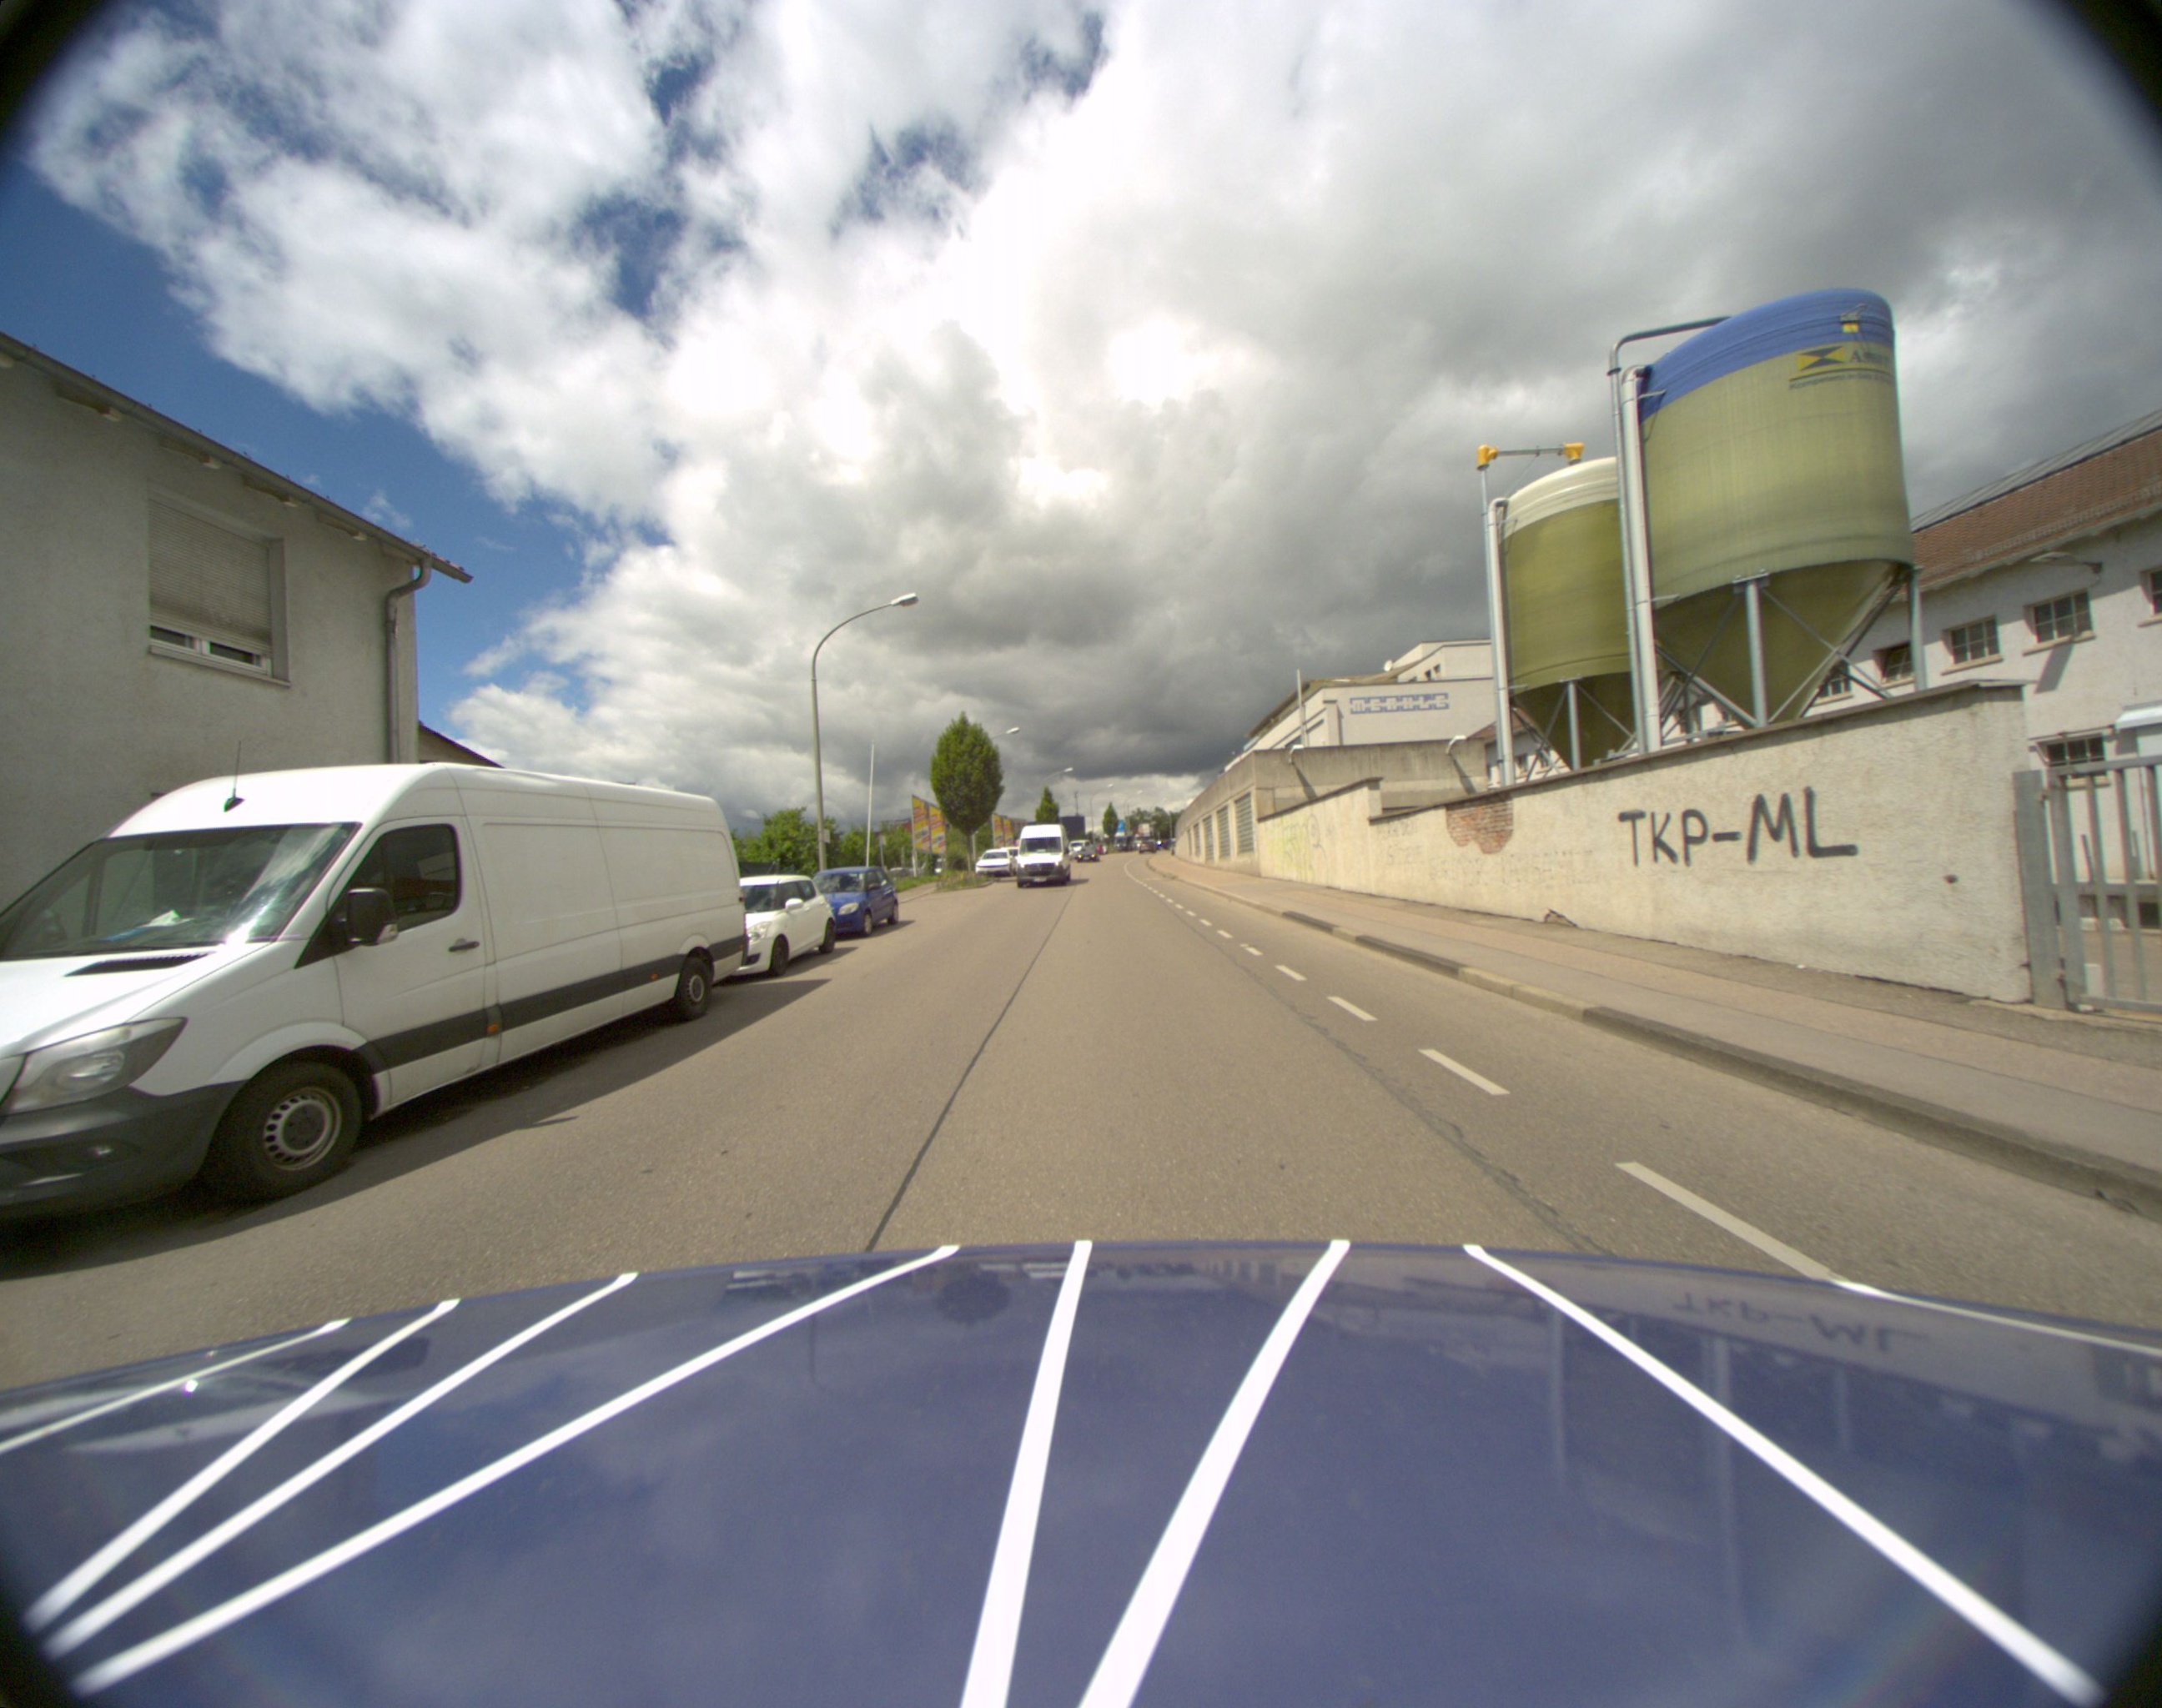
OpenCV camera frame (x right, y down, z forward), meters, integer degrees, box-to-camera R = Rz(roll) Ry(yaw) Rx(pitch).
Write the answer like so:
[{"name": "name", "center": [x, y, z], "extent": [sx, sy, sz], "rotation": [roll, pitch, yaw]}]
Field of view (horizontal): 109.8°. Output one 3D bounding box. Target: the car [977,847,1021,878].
[{"name": "car", "center": [-4.664, 0.450, 43.742], "extent": [1.846, 1.556, 4.465], "rotation": [-1, 2, 3]}]

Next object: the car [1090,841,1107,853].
[{"name": "car", "center": [2.278, -0.931, 98.406], "extent": [1.595, 1.473, 3.502], "rotation": [-3, 1, 12]}]

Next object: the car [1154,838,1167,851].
[{"name": "car", "center": [11.784, -1.450, 112.859], "extent": [1.630, 1.807, 3.780], "rotation": [-2, 2, 4]}]

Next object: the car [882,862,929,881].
[{"name": "car", "center": [-15.519, 1.543, 67.152], "extent": [3.989, 1.532, 1.791], "rotation": [-2, 2, 36]}]

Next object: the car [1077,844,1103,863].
[{"name": "car", "center": [0.852, -0.101, 68.205], "extent": [1.584, 1.498, 3.959], "rotation": [-3, 1, 10]}]

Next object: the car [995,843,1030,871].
[{"name": "car", "center": [-4.444, 0.146, 49.713], "extent": [1.689, 1.650, 4.479], "rotation": [-2, 1, 1]}]

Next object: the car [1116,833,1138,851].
[{"name": "car", "center": [6.997, -1.903, 115.524], "extent": [2.057, 2.579, 5.739], "rotation": [-3, 1, 15]}]

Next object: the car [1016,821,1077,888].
[{"name": "car", "center": [-1.389, -0.039, 33.315], "extent": [2.082, 2.576, 6.061], "rotation": [-3, 1, 2]}]

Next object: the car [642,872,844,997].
[{"name": "car", "center": [-5.314, 1.172, 12.524], "extent": [1.597, 1.501, 3.789], "rotation": [-3, 1, -1]}]

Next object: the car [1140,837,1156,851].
[{"name": "car", "center": [8.446, -1.311, 96.181], "extent": [1.803, 1.613, 4.093], "rotation": [-2, 1, 4]}]

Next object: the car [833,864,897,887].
[{"name": "car", "center": [-17.072, 1.693, 60.116], "extent": [4.451, 1.546, 2.002], "rotation": [-2, 2, 19]}]

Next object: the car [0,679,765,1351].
[{"name": "car", "center": [-5.290, 0.693, 6.558], "extent": [2.038, 2.626, 7.282], "rotation": [-3, 0, -1]}]

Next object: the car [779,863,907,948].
[{"name": "car", "center": [-5.287, 1.072, 17.457], "extent": [1.571, 1.501, 4.093], "rotation": [-3, 1, 0]}]

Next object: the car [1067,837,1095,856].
[{"name": "car", "center": [0.036, -0.881, 86.765], "extent": [1.978, 1.992, 5.550], "rotation": [-3, 1, 12]}]

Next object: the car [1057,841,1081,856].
[{"name": "car", "center": [-1.222, -0.601, 79.096], "extent": [1.640, 1.379, 4.207], "rotation": [-3, 1, 11]}]
